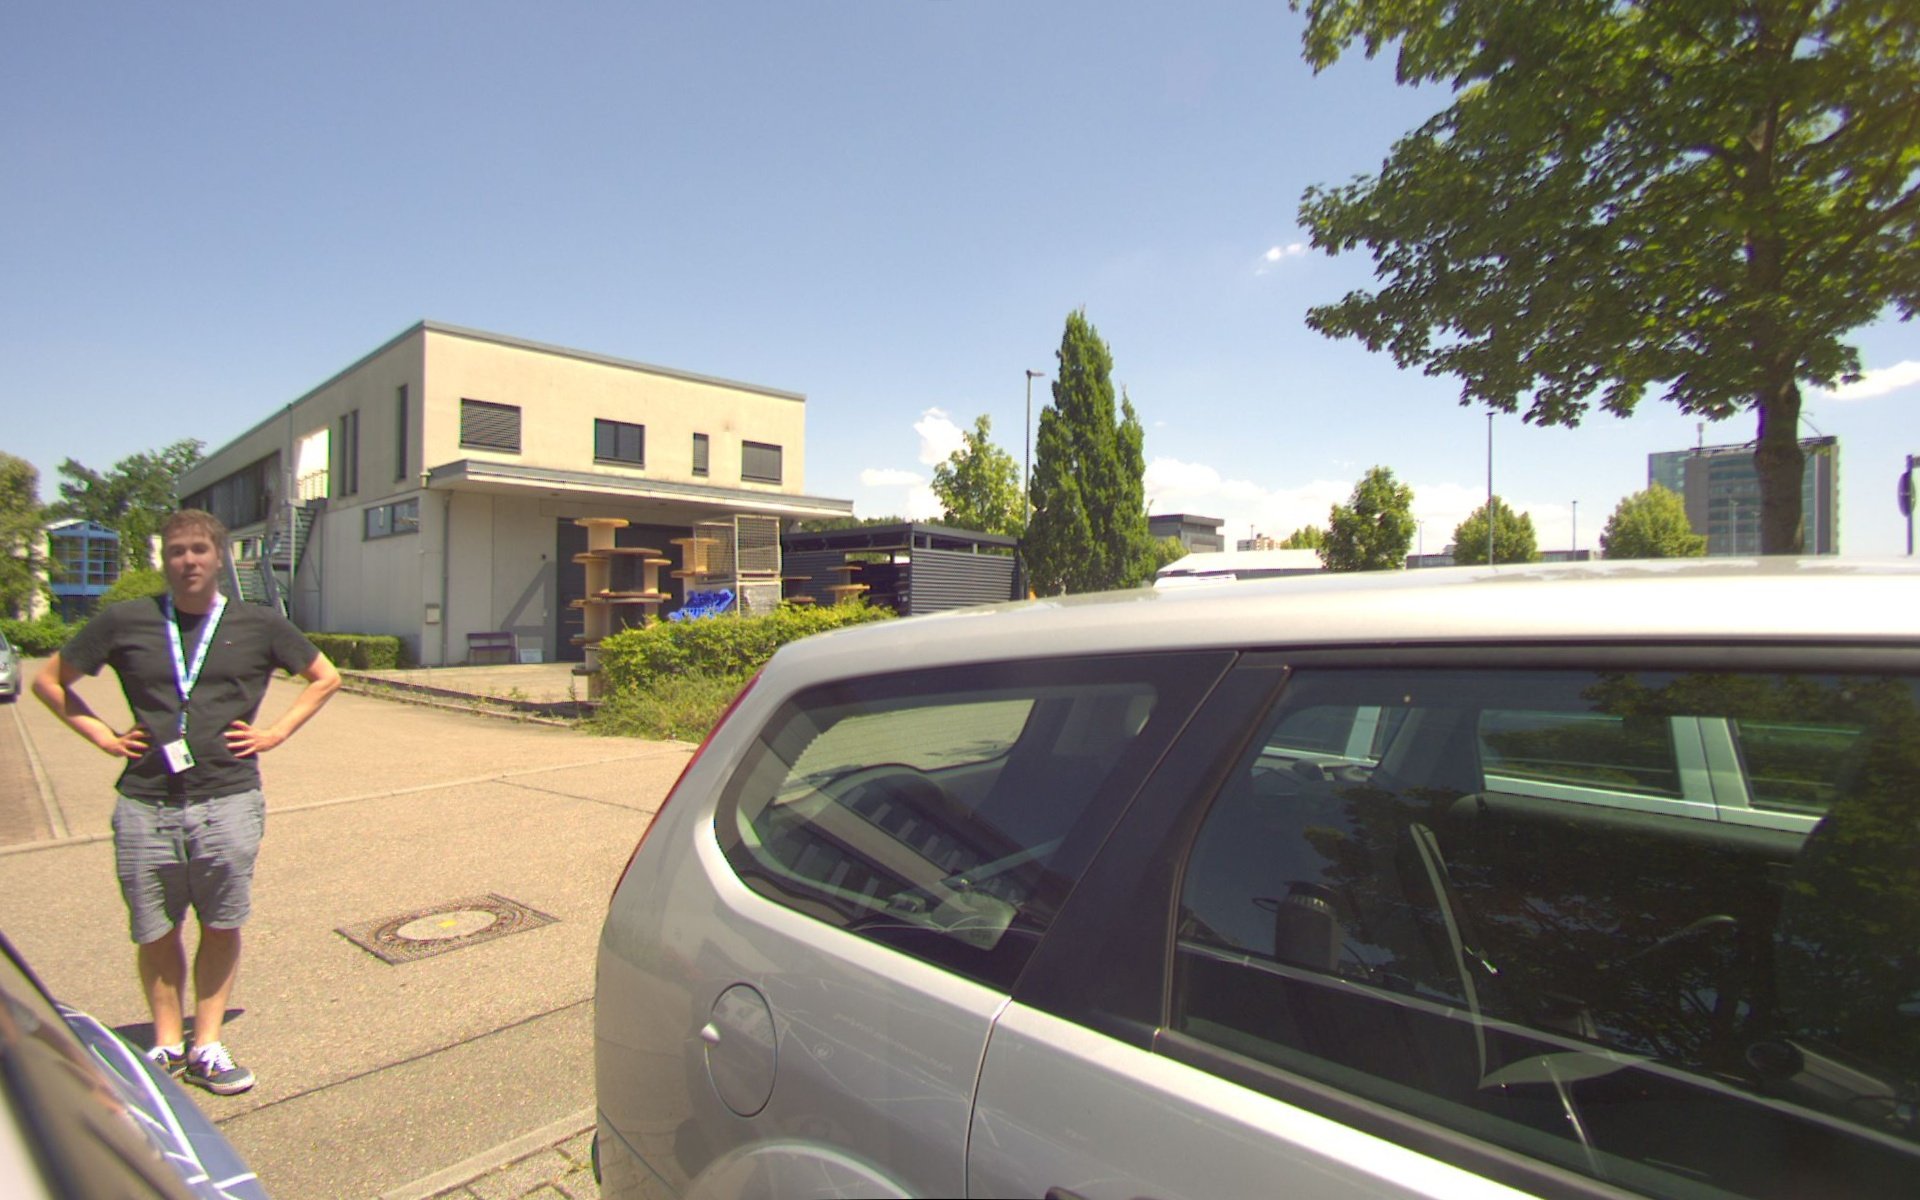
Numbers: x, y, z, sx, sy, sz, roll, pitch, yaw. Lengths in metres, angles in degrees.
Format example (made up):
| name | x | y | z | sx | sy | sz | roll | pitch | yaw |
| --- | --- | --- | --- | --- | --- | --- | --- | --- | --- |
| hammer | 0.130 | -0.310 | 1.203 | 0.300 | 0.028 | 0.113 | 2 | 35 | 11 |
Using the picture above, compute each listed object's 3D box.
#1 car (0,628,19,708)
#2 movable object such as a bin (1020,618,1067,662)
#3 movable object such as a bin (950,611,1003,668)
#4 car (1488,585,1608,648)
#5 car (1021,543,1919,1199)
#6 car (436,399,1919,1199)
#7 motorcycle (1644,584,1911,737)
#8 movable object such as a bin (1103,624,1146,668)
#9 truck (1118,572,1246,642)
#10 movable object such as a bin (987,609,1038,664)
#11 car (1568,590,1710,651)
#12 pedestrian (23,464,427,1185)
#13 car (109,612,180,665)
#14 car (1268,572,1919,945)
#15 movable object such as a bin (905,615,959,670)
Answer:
| name | x | y | z | sx | sy | sz | roll | pitch | yaw |
| --- | --- | --- | --- | --- | --- | --- | --- | --- | --- |
| car | -19.082 | 1.260 | 19.174 | 1.686 | 1.402 | 3.816 | 1 | -1 | -41 |
| movable object such as a bin | 2.201 | 1.042 | 26.714 | 0.972 | 1.092 | 0.761 | -1 | -1 | -40 |
| movable object such as a bin | 0.407 | 0.967 | 25.089 | 1.056 | 1.346 | 0.761 | -1 | -1 | -40 |
| car | 17.399 | 0.457 | 29.894 | 3.936 | 1.751 | 1.776 | -1 | 0 | -39 |
| car | 2.255 | 0.626 | 3.085 | 3.886 | 1.490 | 1.632 | -1 | -1 | 38 |
| car | 1.304 | 0.630 | 0.964 | 4.346 | 1.490 | 1.702 | -1 | -1 | 41 |
| motorcycle | 8.023 | 0.578 | 10.047 | 1.986 | 1.400 | 0.478 | -2 | -1 | 38 |
| movable object such as a bin | 3.738 | 1.034 | 23.072 | 0.581 | 0.977 | 0.761 | -1 | -1 | -40 |
| truck | 9.191 | 0.261 | 41.593 | 5.614 | 2.692 | 2.420 | -1 | -1 | -45 |
| movable object such as a bin | 1.348 | 0.925 | 26.034 | 1.056 | 1.346 | 0.761 | -1 | -1 | -40 |
| car | 18.593 | 0.536 | 27.682 | 3.932 | 1.533 | 1.658 | -1 | 0 | -31 |
| pedestrian | -2.323 | 0.575 | 3.204 | 0.904 | 1.834 | 0.849 | -2 | -1 | 41 |
| car | -30.060 | 1.360 | 37.260 | 1.761 | 1.817 | 4.004 | -1 | 0 | -43 |
| car | 3.728 | 0.627 | 5.014 | 3.886 | 1.459 | 1.632 | -1 | -1 | 38 |
| movable object such as a bin | -0.671 | 1.002 | 24.312 | 1.056 | 1.280 | 0.761 | -1 | -1 | -40 |
